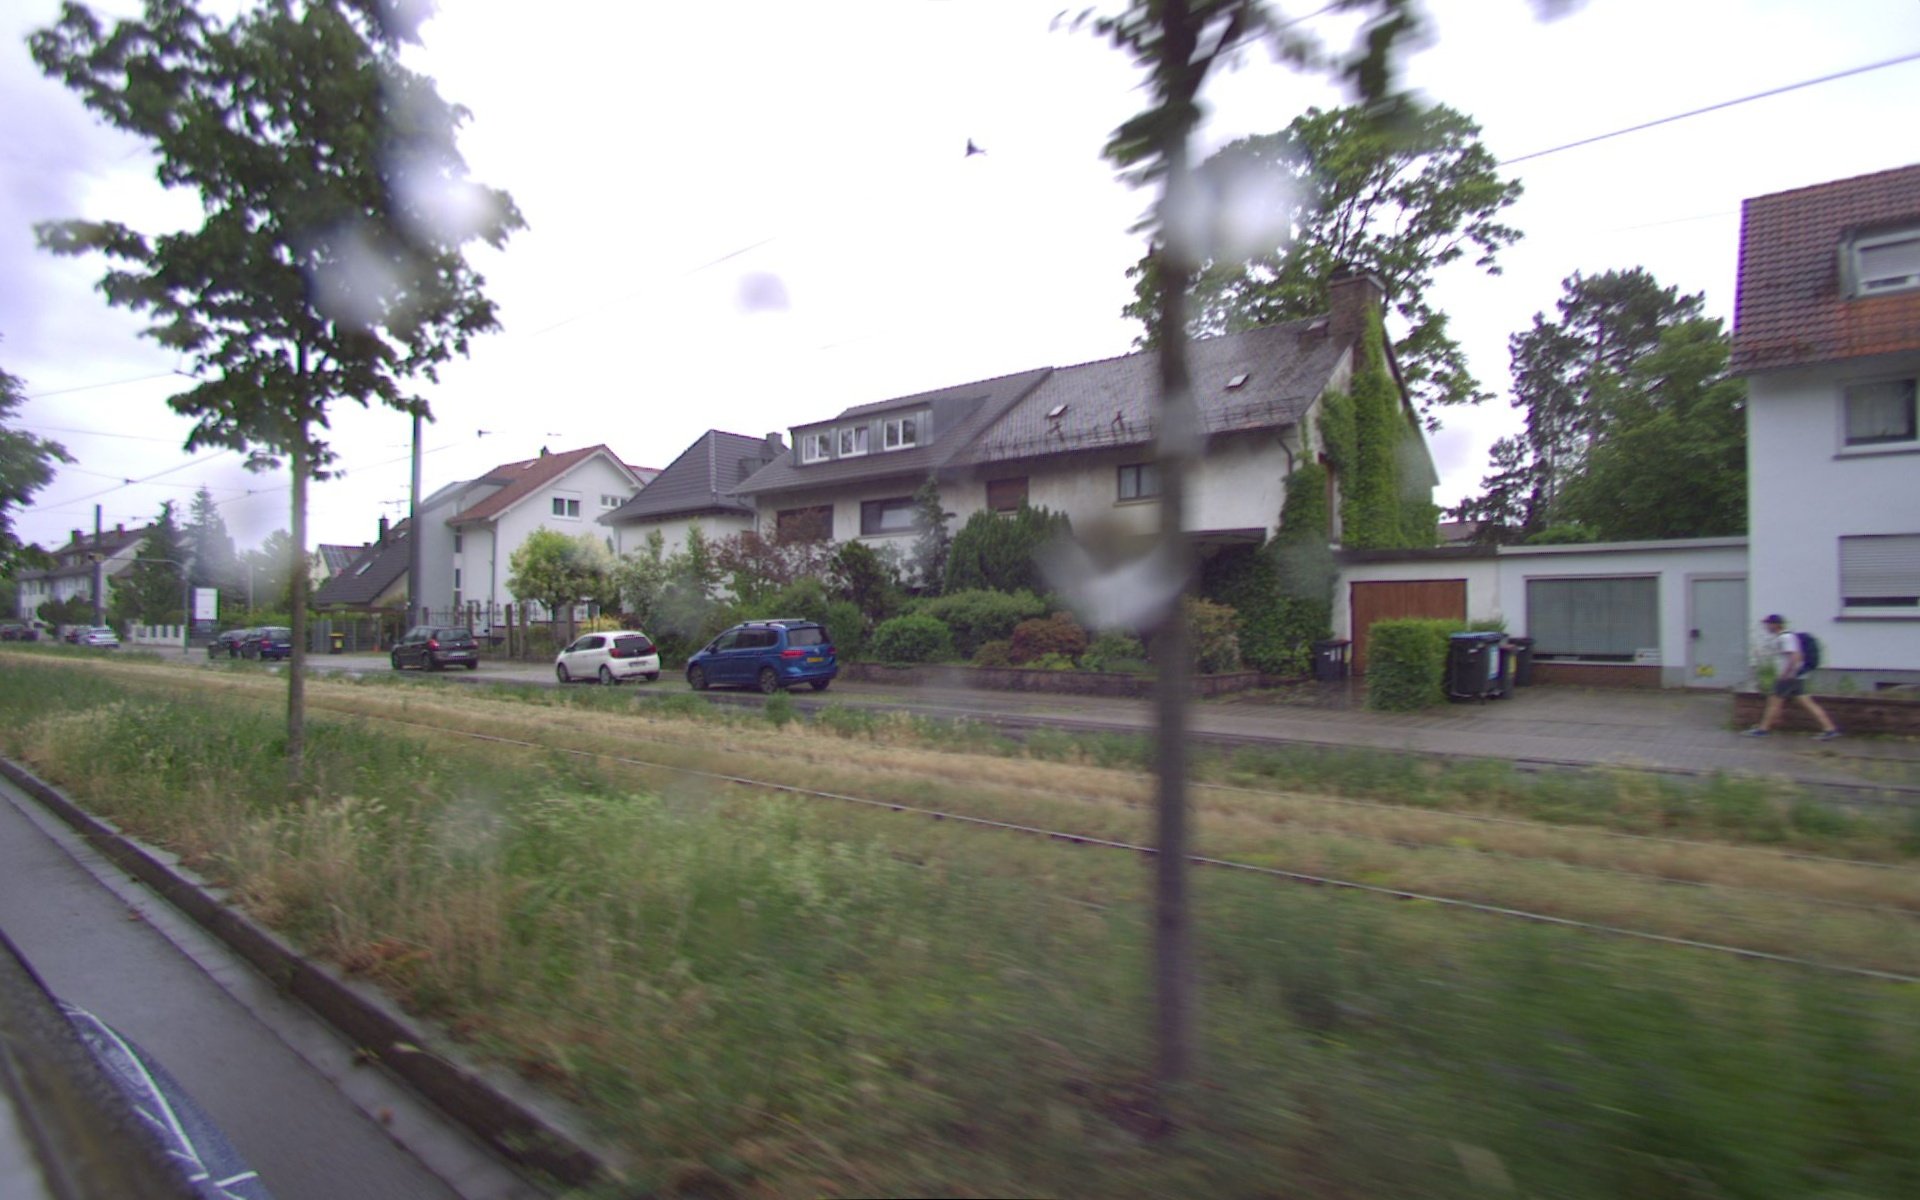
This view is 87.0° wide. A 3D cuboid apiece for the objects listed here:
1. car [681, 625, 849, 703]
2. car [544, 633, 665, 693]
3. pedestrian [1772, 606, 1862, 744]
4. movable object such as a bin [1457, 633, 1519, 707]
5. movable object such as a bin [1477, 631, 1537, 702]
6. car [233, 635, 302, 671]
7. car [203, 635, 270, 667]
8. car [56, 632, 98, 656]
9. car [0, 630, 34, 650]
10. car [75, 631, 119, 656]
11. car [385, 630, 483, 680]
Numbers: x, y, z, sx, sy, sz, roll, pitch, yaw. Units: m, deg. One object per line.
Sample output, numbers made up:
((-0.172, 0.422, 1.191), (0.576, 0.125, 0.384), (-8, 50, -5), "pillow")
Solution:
((-4.855, 1.500, 24.864), (4.179, 1.719, 1.825), (-1, -1, 40), "car")
((-10.333, 1.762, 29.345), (3.598, 1.540, 1.696), (-1, 1, 40), "car")
((11.543, 0.980, 13.647), (0.869, 1.781, 0.592), (-2, -1, 41), "pedestrian")
((9.806, 1.275, 18.795), (0.739, 1.308, 1.172), (-2, -1, 42), "movable object such as a bin")
((10.660, 1.264, 19.715), (0.739, 1.308, 1.241), (-2, -1, 42), "movable object such as a bin")
((-32.647, 2.444, 47.675), (3.852, 1.527, 1.736), (-1, 0, 41), "car")
((-36.102, 2.542, 50.461), (3.998, 1.510, 1.869), (-2, -3, 42), "car")
((-62.531, 3.094, 71.650), (3.852, 1.527, 1.736), (-1, 0, 41), "car")
((-80.064, 3.394, 85.920), (3.852, 1.527, 1.736), (-1, 0, 41), "car")
((-58.837, 2.952, 68.965), (3.852, 1.527, 1.736), (-1, 0, 41), "car")
((-19.093, 1.933, 36.642), (4.108, 1.626, 1.736), (-1, 0, 41), "car")
